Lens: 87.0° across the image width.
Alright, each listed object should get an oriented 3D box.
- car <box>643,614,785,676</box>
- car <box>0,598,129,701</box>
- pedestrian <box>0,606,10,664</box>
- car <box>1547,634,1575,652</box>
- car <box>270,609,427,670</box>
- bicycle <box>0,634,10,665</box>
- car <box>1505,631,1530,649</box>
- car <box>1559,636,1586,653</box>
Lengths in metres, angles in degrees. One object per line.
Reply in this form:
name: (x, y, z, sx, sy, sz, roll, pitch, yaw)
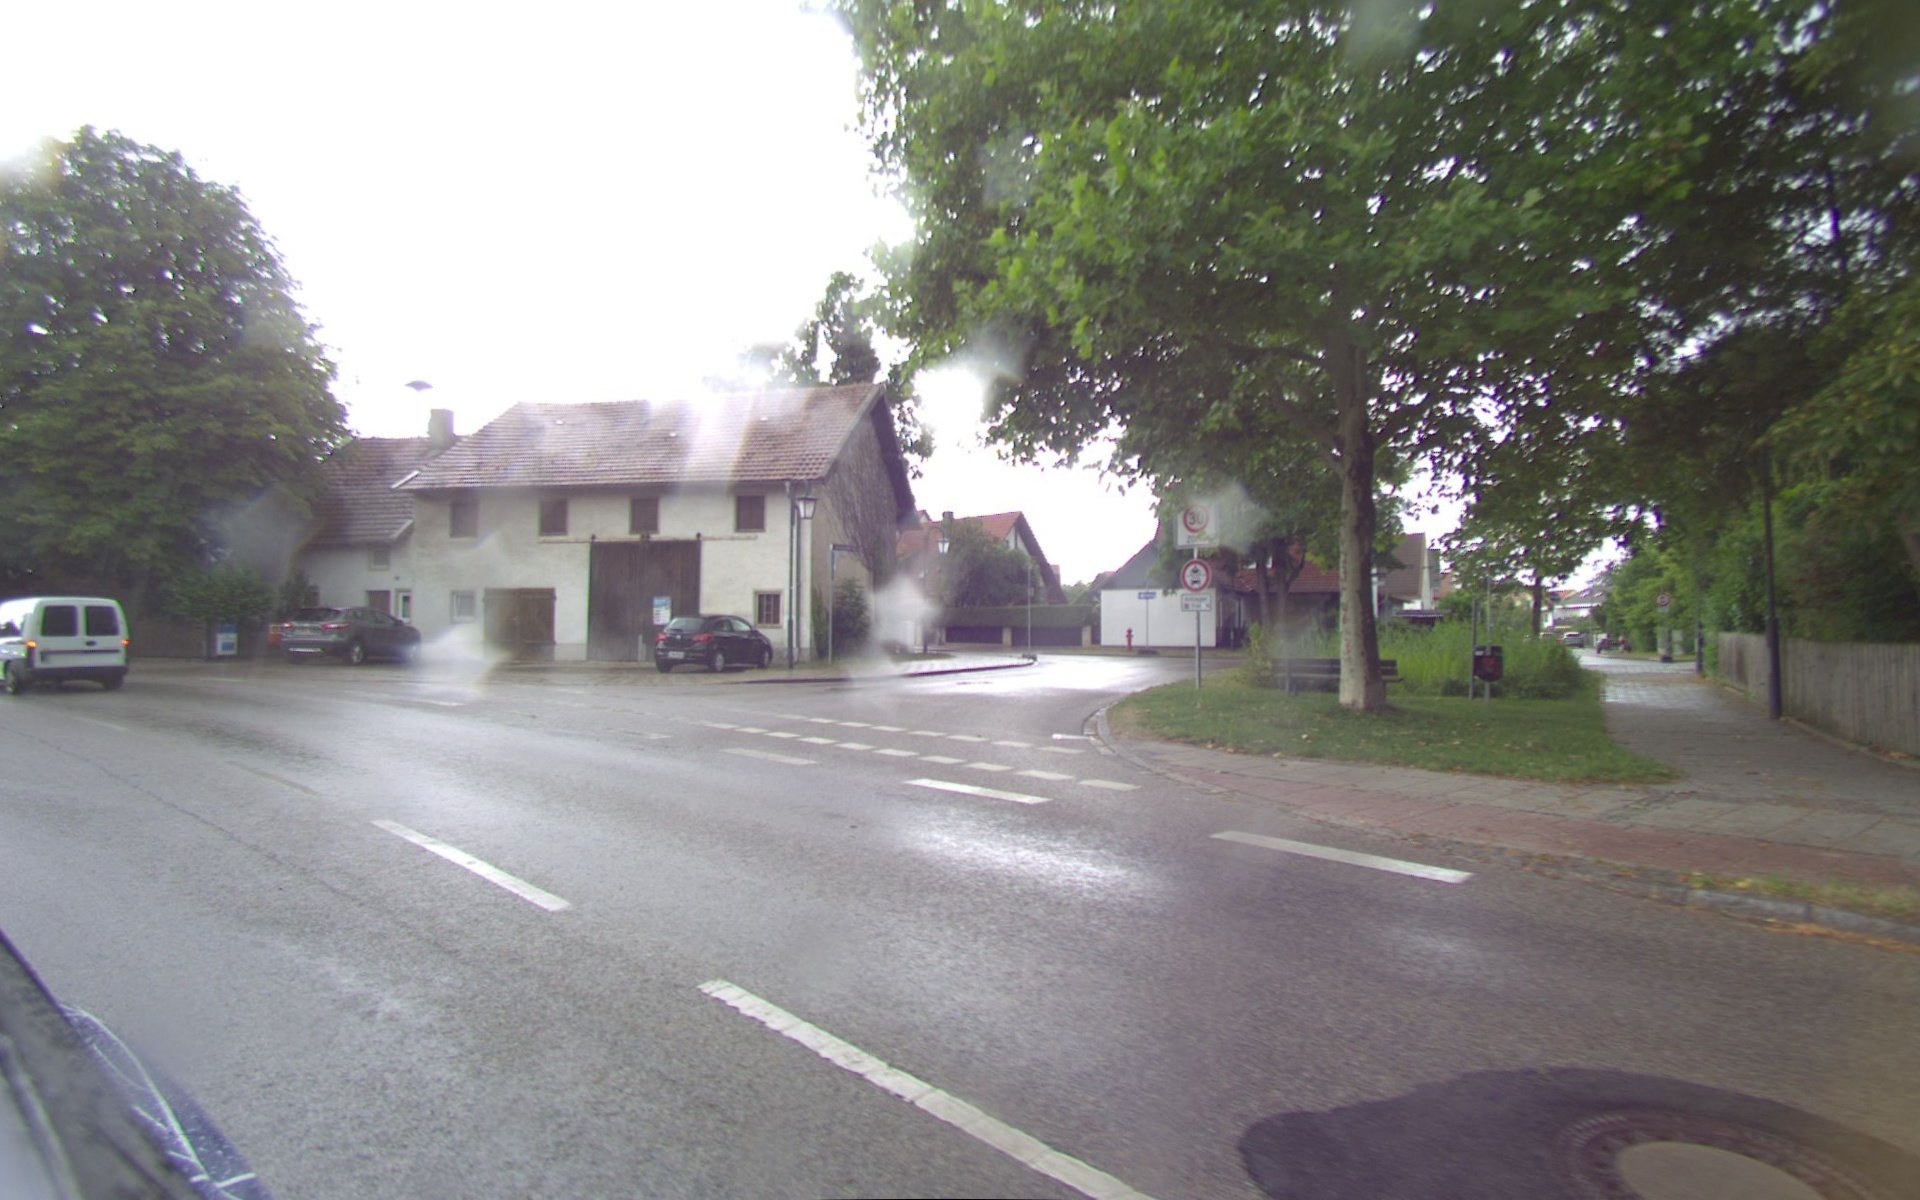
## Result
car: (-6.243, 1.108, 26.203, 1.803, 1.447, 4.262, 0, -1, 14)
car: (-17.871, 0.874, 19.485, 4.316, 1.778, 1.628, 0, 0, 32)
pedestrian: (-27.519, 0.995, 28.755, 0.642, 1.640, 0.480, 1, -1, -31)
car: (55.843, 4.014, 94.118, 1.991, 1.453, 3.962, 0, 0, 28)
car: (-16.767, 1.119, 28.028, 1.792, 1.560, 4.281, 0, -3, -1)
bicycle: (-28.799, 1.438, 29.346, 1.847, 0.909, 0.664, 0, -1, -2)
car: (52.076, 3.749, 94.564, 1.991, 1.453, 3.962, 0, 0, 28)
car: (60.347, 4.391, 99.809, 1.991, 1.453, 3.962, 0, 0, 28)
